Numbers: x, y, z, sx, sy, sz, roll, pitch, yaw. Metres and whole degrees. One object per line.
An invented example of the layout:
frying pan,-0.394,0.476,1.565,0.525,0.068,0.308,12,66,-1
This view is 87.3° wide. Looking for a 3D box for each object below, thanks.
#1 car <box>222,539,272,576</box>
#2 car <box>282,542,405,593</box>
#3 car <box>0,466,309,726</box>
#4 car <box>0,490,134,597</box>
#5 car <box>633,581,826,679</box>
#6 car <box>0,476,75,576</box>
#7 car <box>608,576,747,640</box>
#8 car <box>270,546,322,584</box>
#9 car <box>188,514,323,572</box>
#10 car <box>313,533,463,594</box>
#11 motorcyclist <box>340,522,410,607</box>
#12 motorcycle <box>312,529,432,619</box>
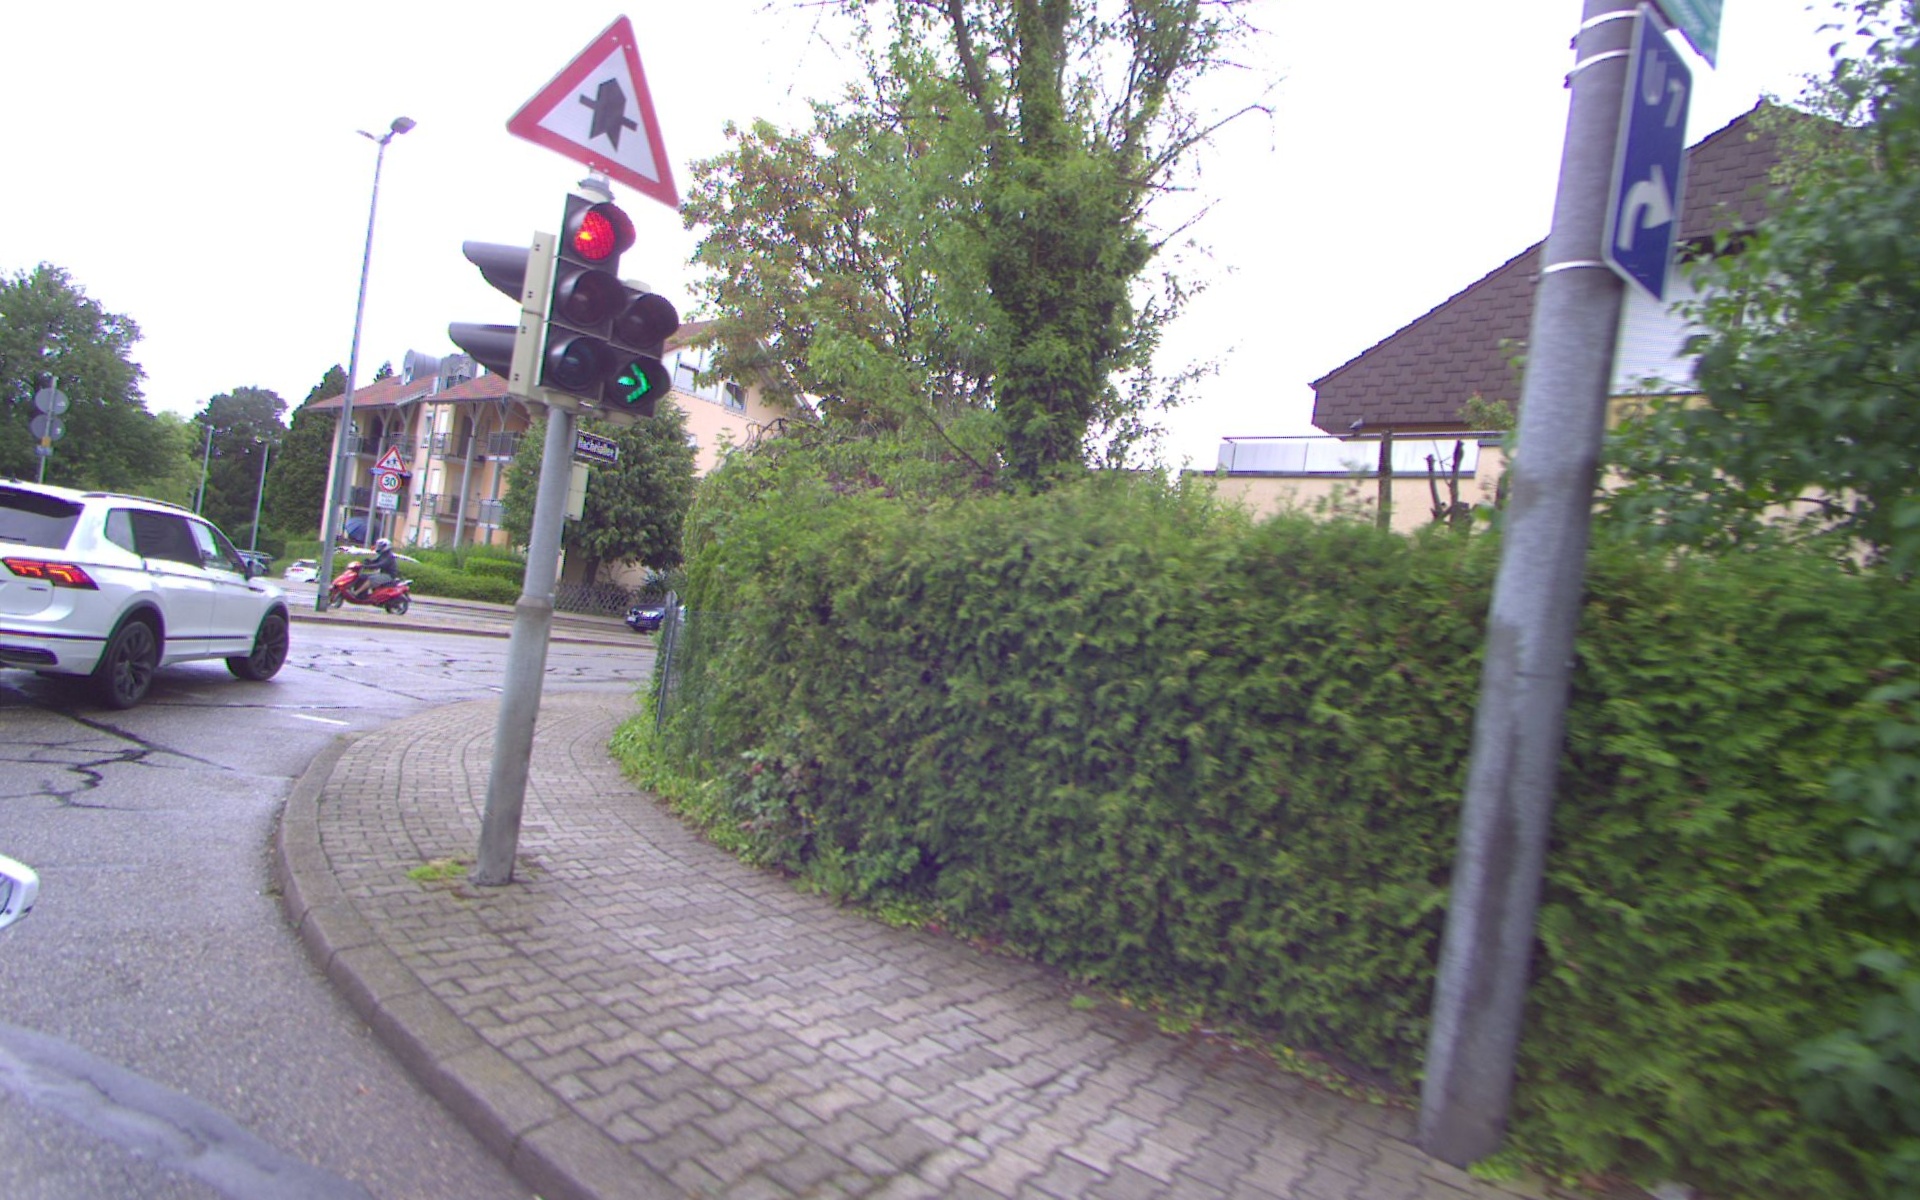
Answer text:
car,-35.512,-2.136,50.076,1.752,1.425,3.820,7,0,-38
car,-24.576,-1.288,40.178,3.839,1.425,1.744,8,0,-44
car,-7.684,-0.154,8.887,1.899,1.742,4.251,9,-1,-16
car,-15.938,-1.079,16.373,1.500,1.473,3.436,9,-1,33
car,-4.906,0.727,21.986,1.740,1.526,4.001,11,-1,27
car,-19.651,-1.717,18.873,1.966,1.688,3.999,11,-1,30
car,-9.050,0.308,32.643,1.729,1.451,4.353,8,-3,27
car,-32.718,-1.739,49.512,1.752,1.425,3.820,7,0,-38
car,-42.591,-3.410,60.937,2.813,2.224,6.001,9,-3,42
car,-19.918,-1.265,35.136,4.178,1.455,1.801,9,-2,-43
motorcyclist,-12.514,-0.753,21.522,0.761,1.644,0.935,7,0,40
motorcycle,-12.556,-0.542,21.518,0.786,1.644,1.914,7,-1,40
